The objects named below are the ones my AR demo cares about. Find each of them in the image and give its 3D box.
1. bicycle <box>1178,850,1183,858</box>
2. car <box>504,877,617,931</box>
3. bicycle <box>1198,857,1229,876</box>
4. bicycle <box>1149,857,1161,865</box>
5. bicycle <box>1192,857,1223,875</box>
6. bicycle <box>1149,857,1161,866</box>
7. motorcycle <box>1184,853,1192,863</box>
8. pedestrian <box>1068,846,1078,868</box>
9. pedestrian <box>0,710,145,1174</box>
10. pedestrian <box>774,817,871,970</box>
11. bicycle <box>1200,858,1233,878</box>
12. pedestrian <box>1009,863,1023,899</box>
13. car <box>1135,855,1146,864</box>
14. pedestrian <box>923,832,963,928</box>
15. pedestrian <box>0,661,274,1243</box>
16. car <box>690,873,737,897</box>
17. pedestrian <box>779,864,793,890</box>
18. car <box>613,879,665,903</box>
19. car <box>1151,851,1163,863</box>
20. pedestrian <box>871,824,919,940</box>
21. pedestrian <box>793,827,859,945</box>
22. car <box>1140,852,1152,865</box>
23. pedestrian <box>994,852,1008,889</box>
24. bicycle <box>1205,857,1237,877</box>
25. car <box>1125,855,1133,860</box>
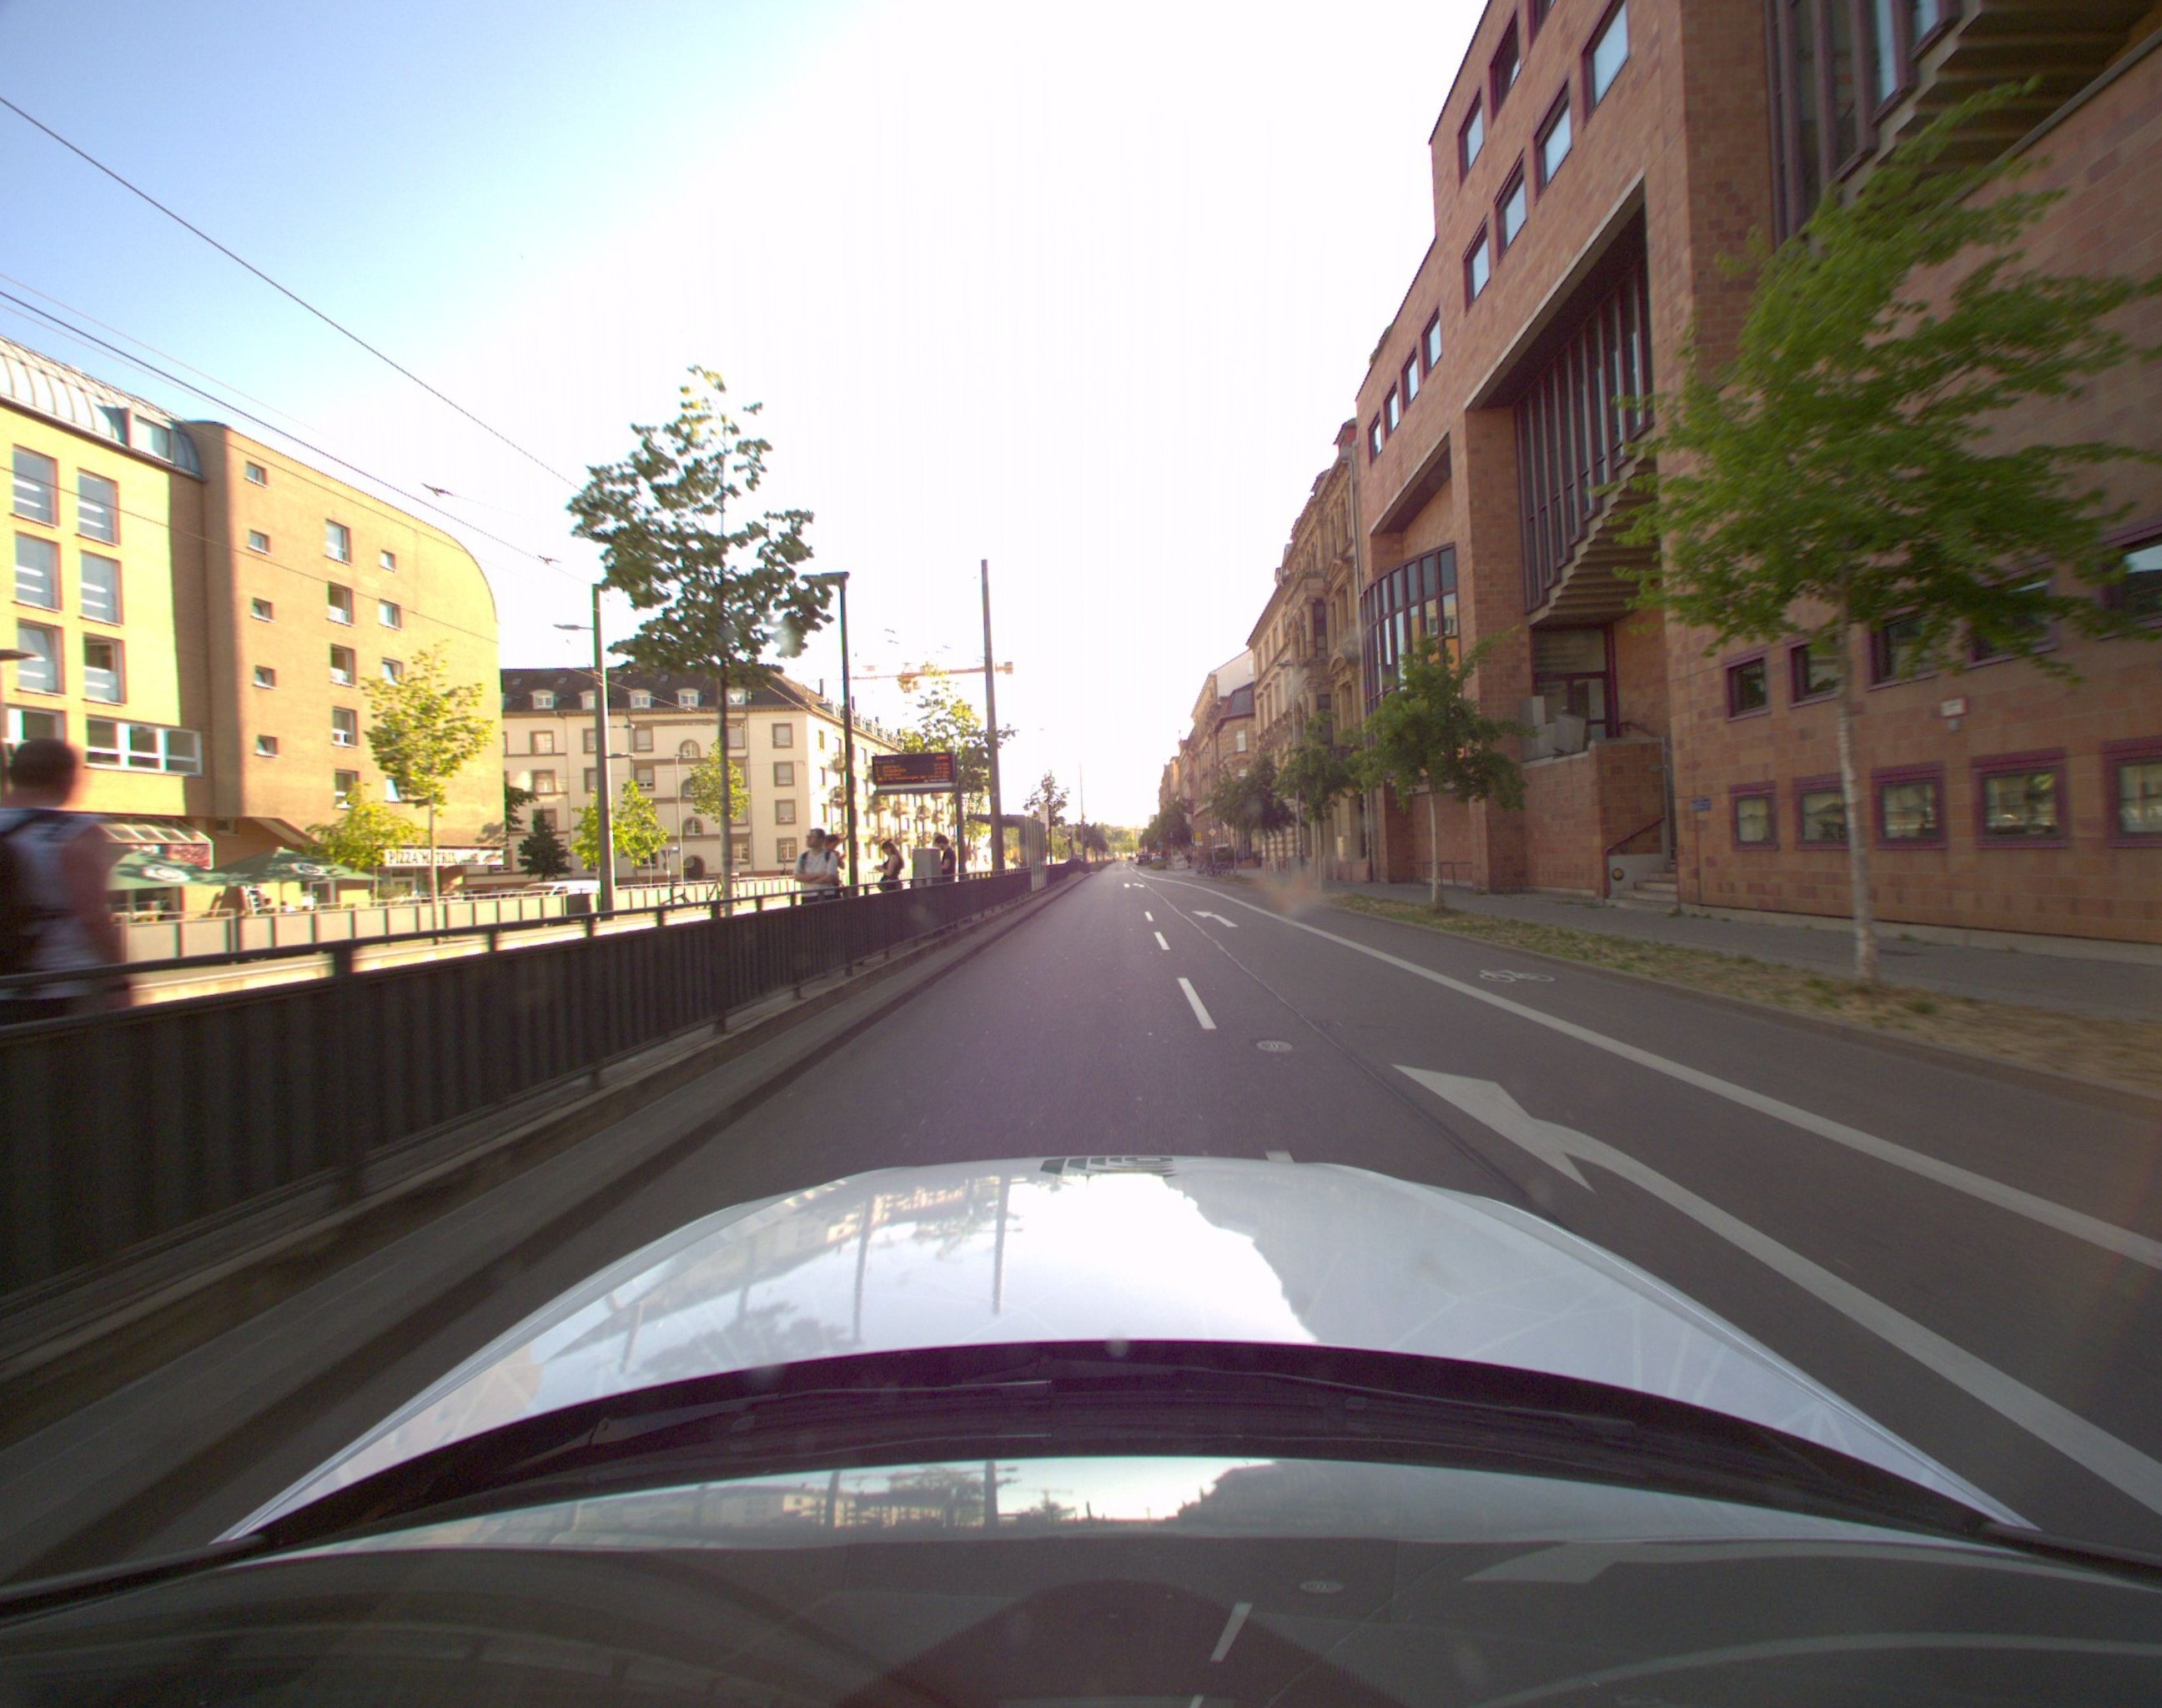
[{"bbox_3d":[17.367,-0.053,142.366,0.658,1.402,2.353,-3,1,2],"label":"bicycle"},{"bbox_3d":[-23.553,2.217,37.089,1.982,2.013,4.157,-3,1,8],"label":"car"},{"bbox_3d":[8.573,0.797,52.822,1.821,1.064,0.663,-5,1,-3],"label":"bicycle"},{"bbox_3d":[10.227,0.989,112.233,1.574,1.048,0.488,-4,0,-6],"label":"bicycle"},{"bbox_3d":[8.423,0.789,54.303,1.821,1.064,0.663,-5,1,-3],"label":"bicycle"},{"bbox_3d":[10.055,1.018,110.409,1.574,1.048,0.488,-4,0,-6],"label":"bicycle"},{"bbox_3d":[15.154,0.543,114.946,0.791,1.308,2.854,-5,0,2],"label":"motorcycle"},{"bbox_3d":[-0.624,0.245,61.198,0.652,1.643,0.868,-2,-2,3],"label":"pedestrian"},{"bbox_3d":[-4.213,0.325,3.041,0.652,1.672,0.674,-3,-1,13],"label":"pedestrian"},{"bbox_3d":[-2.811,0.410,8.928,0.670,1.562,0.907,-3,-1,2],"label":"pedestrian"},{"bbox_3d":[8.313,0.840,50.071,1.821,1.064,0.663,-5,1,-3],"label":"bicycle"},{"bbox_3d":[-2.221,0.919,27.776,0.406,1.190,0.428,-2,-1,-10],"label":"pedestrian"},{"bbox_3d":[10.958,1.014,150.262,1.841,1.457,4.161,-3,1,4],"label":"car"},{"bbox_3d":[-2.489,0.453,14.739,0.503,1.679,0.652,-3,-1,2],"label":"pedestrian"},{"bbox_3d":[-3.475,0.293,2.600,0.879,1.672,1.103,-3,-1,36],"label":"pedestrian"},{"bbox_3d":[-28.268,2.370,62.758,1.833,1.585,4.126,-3,1,-3],"label":"car"},{"bbox_3d":[-24.036,1.871,66.392,0.797,2.013,0.626,-3,0,2],"label":"pedestrian"},{"bbox_3d":[-33.439,2.769,61.762,1.833,1.501,3.996,-3,1,-3],"label":"car"},{"bbox_3d":[11.246,0.460,120.219,1.629,1.486,4.218,-5,1,5],"label":"car"},{"bbox_3d":[-2.883,0.429,12.684,0.503,1.732,0.652,-3,-1,2],"label":"pedestrian"},{"bbox_3d":[-3.911,0.483,12.536,0.717,1.732,0.652,-3,-1,2],"label":"pedestrian"},{"bbox_3d":[10.867,0.746,136.831,1.877,1.937,4.478,-3,1,4],"label":"car"},{"bbox_3d":[-3.036,0.625,30.832,0.428,1.385,0.406,-2,-1,-10],"label":"pedestrian"},{"bbox_3d":[8.833,0.799,51.427,1.821,1.064,0.663,-5,1,-3],"label":"bicycle"},{"bbox_3d":[15.034,1.113,255.532,1.787,1.464,4.011,-3,0,10],"label":"car"}]
